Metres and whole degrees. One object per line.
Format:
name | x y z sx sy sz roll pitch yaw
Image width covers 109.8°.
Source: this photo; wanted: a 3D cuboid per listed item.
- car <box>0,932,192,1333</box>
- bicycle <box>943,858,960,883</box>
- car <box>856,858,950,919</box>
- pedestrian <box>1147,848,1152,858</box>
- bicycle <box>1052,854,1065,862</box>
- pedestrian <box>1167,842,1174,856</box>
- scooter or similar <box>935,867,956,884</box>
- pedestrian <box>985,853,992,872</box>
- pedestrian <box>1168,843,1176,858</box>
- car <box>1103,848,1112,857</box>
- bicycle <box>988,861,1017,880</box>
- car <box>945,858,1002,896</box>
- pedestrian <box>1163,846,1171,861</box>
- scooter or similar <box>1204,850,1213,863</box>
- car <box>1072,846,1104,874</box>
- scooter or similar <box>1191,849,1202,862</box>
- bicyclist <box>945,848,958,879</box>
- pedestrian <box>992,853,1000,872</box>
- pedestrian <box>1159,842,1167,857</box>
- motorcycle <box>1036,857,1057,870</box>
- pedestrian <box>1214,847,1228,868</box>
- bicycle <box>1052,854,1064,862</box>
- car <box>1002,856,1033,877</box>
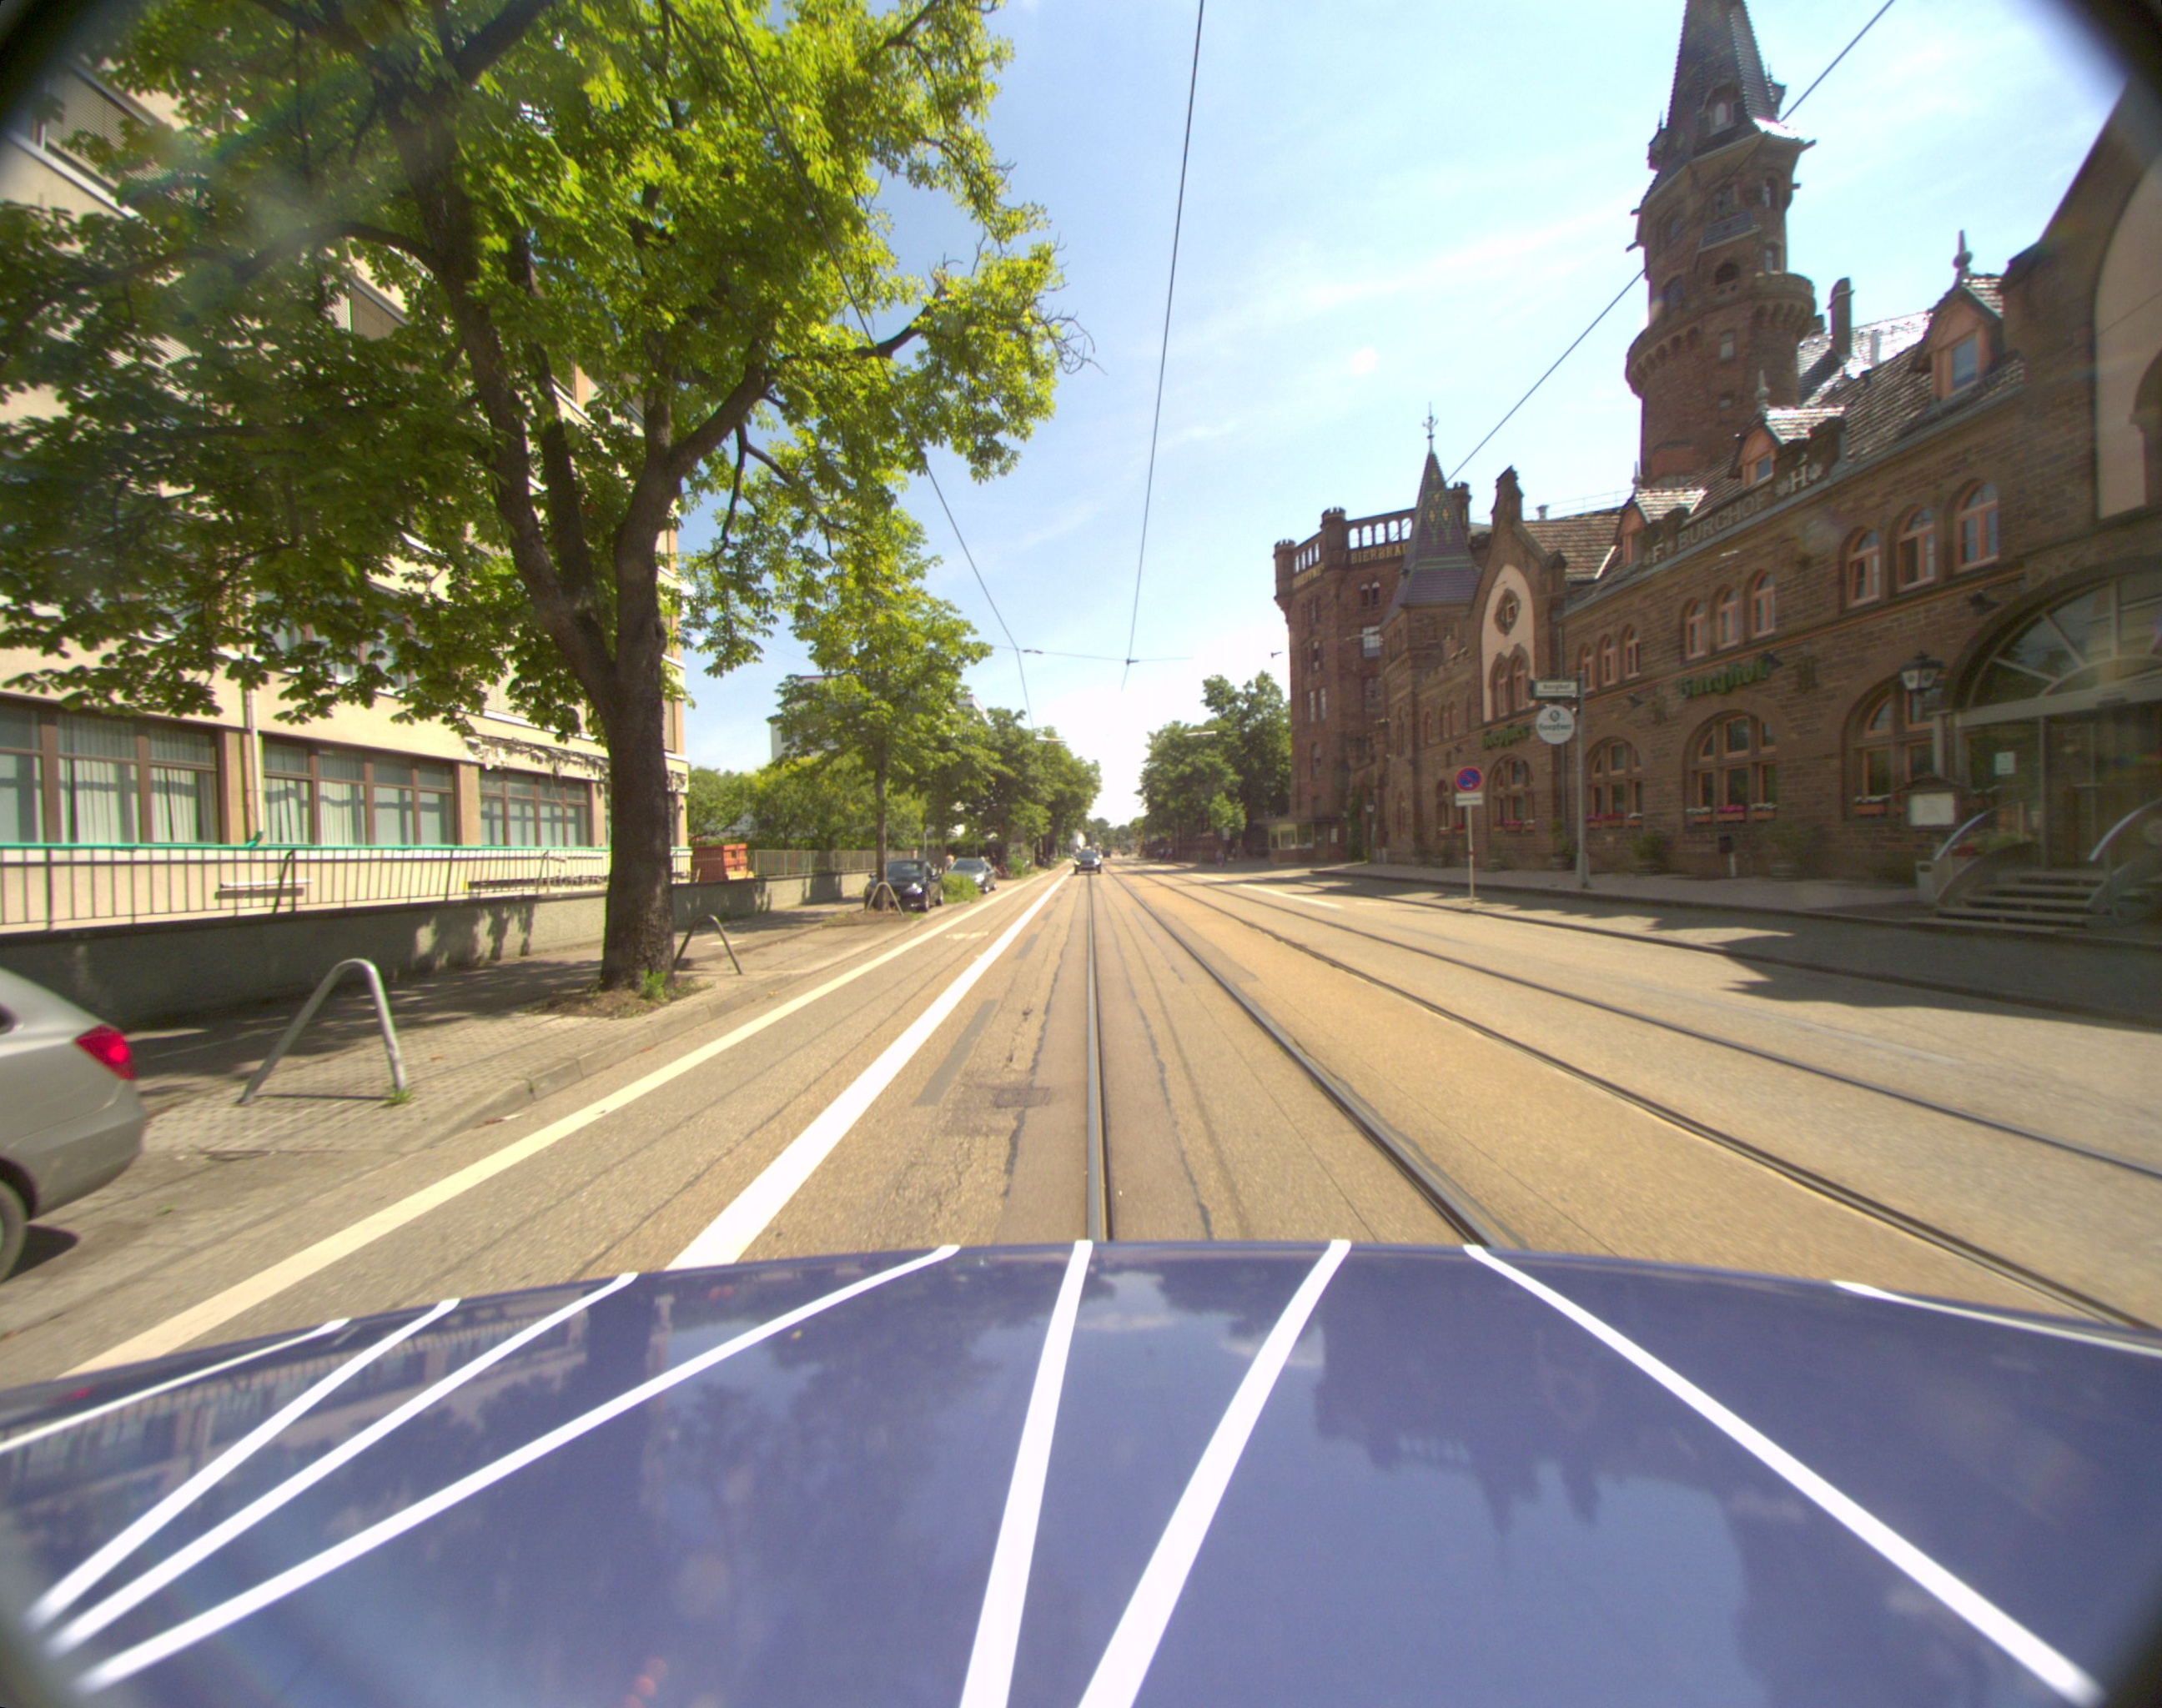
car | -4.985 1.143 1.374 1.676 1.490 4.364 -2 0 -2
bicycle | -6.825 0.853 40.012 0.556 1.258 1.774 1 1 1
car | -4.863 0.890 21.279 1.675 1.481 3.980 -2 0 0
pedestrian | 12.217 -0.230 135.325 0.750 1.738 0.919 -4 1 1
bicycle | -3.509 0.612 118.908 1.846 1.105 0.569 -3 1 -3
pedestrian | 11.478 -0.670 97.628 0.679 1.766 0.919 -5 1 1
scooter or similar | -6.851 1.061 38.359 0.763 0.802 1.555 0 0 1
pedestrian | -7.616 0.678 62.749 0.514 1.564 0.544 0 1 1
pedestrian | 11.444 -0.405 95.129 0.754 1.766 0.919 -5 1 1
car | 5.581 -0.290 160.669 1.909 1.778 4.255 -2 0 1
bicycle | -4.590 0.938 44.599 1.589 1.054 0.562 -2 1 -1
car | -4.417 0.900 31.827 1.675 1.400 4.748 -2 0 0
pedestrian | 10.056 -0.051 88.497 0.723 1.781 0.919 -5 1 1
scooter or similar | 11.397 0.255 68.061 0.328 1.120 1.225 -3 1 29
car | 0.491 0.408 51.941 1.998 1.732 4.227 -3 0 1
scooter or similar | 10.897 0.169 71.519 0.348 1.120 1.227 -2 2 44
bicyclist | -6.849 0.509 40.095 0.582 1.638 0.599 0 1 1
pedestrian | -7.022 0.670 62.786 0.620 1.564 0.610 0 1 1
pedestrian | 10.509 -0.573 97.410 0.679 1.780 0.919 -5 1 1
motorcycle | -3.285 0.933 72.596 2.056 1.206 0.614 -1 2 40
pedestrian | 10.978 0.243 59.678 0.801 1.579 0.919 -5 1 0
bicycle | -3.619 0.614 119.613 1.813 1.105 0.569 -3 1 -3
car | -4.448 0.857 53.572 1.756 1.263 3.833 -3 0 1
